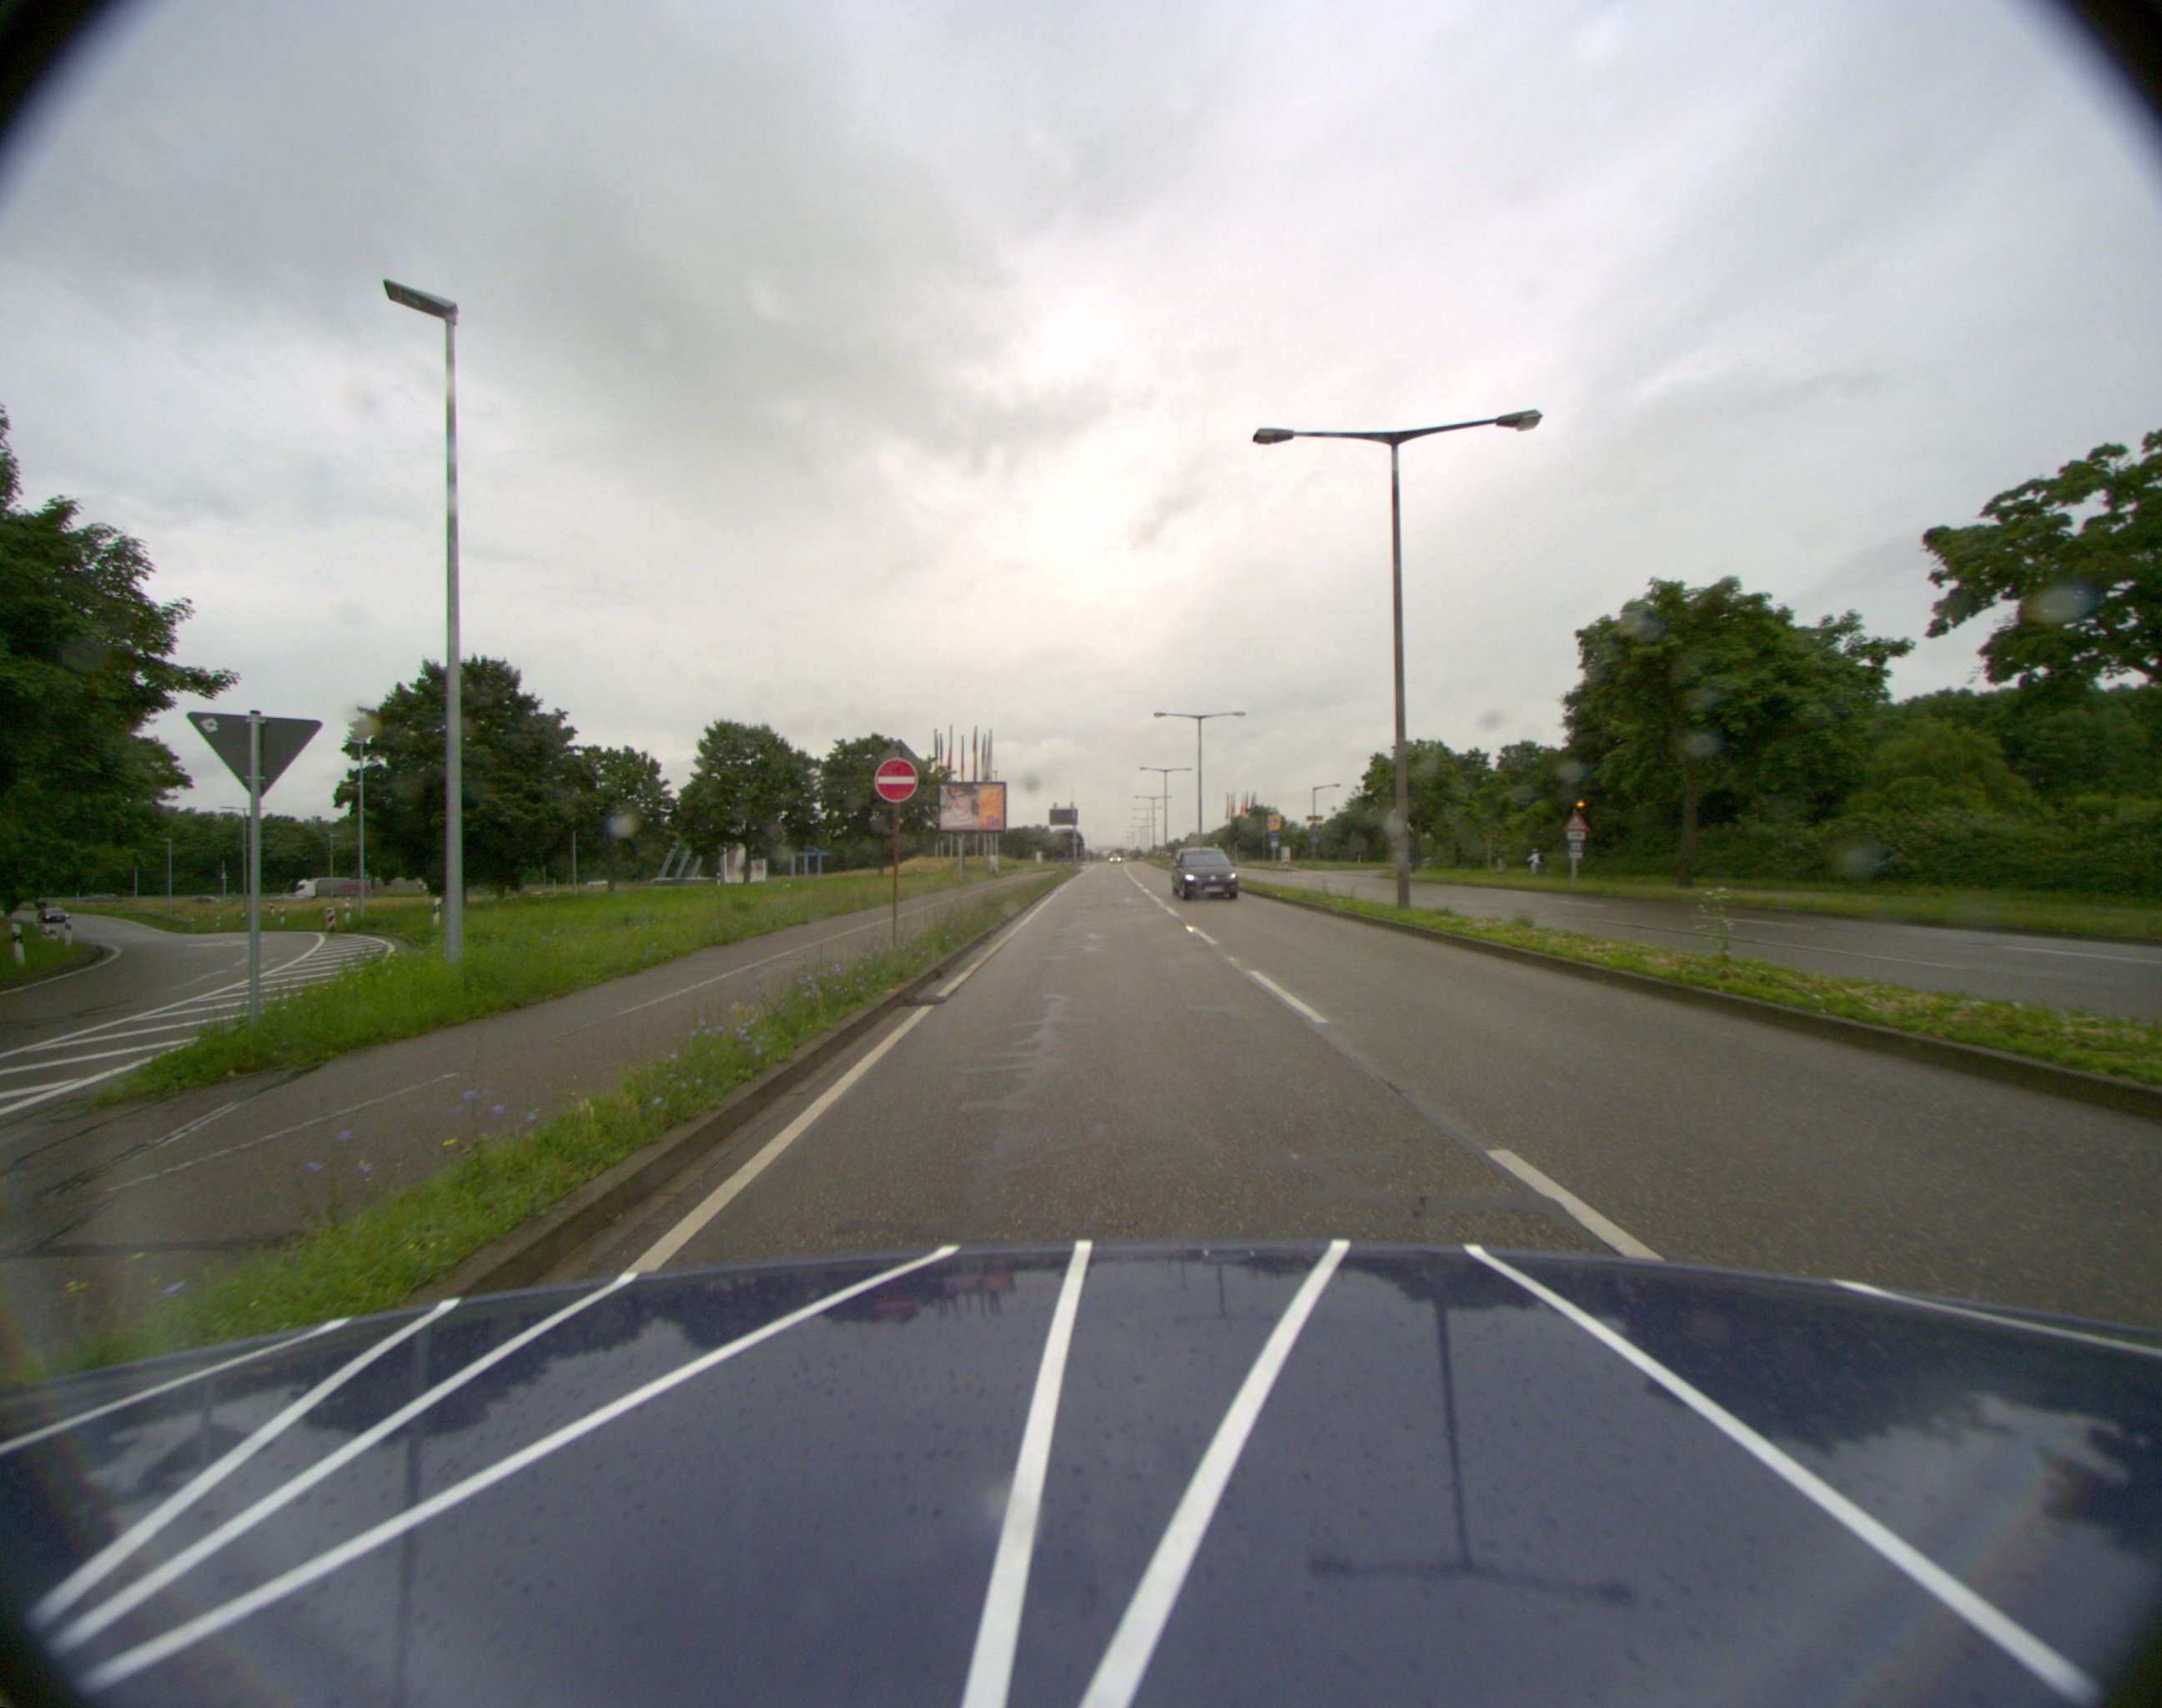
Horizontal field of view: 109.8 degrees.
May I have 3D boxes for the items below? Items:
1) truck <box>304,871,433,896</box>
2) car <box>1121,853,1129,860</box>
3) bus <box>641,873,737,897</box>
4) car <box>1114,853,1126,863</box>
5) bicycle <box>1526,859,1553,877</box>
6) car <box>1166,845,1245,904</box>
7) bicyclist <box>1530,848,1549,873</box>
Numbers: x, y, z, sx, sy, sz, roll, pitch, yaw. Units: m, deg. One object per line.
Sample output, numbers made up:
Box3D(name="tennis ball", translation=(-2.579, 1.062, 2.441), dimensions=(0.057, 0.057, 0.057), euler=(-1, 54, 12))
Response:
Box3D(name="truck", translation=(-119.047, 4.874, 127.264), dimensions=(16.273, 3.371, 2.745), euler=(-2, 1, -15))
Box3D(name="car", translation=(11.801, 0.724, 203.449), dimensions=(1.998, 1.703, 4.001), euler=(-1, 0, 2))
Box3D(name="bus", translation=(-62.309, 4.854, 121.516), dimensions=(2.756, 2.665, 14.613), euler=(-1, 2, 27))
Box3D(name="car", translation=(6.890, 0.755, 133.492), dimensions=(1.998, 1.700, 4.000), euler=(-1, 0, 1))
Box3D(name="bicycle", translation=(24.651, 0.740, 40.879), dimensions=(0.523, 0.880, 1.634), euler=(-2, 0, 3))
Box3D(name="car", translation=(4.214, 0.613, 26.505), dimensions=(1.850, 1.741, 4.815), euler=(-2, 1, -1))
Box3D(name="bicyclist", translation=(24.636, 0.360, 40.870), dimensions=(0.523, 1.295, 0.808), euler=(-2, 1, 3))
